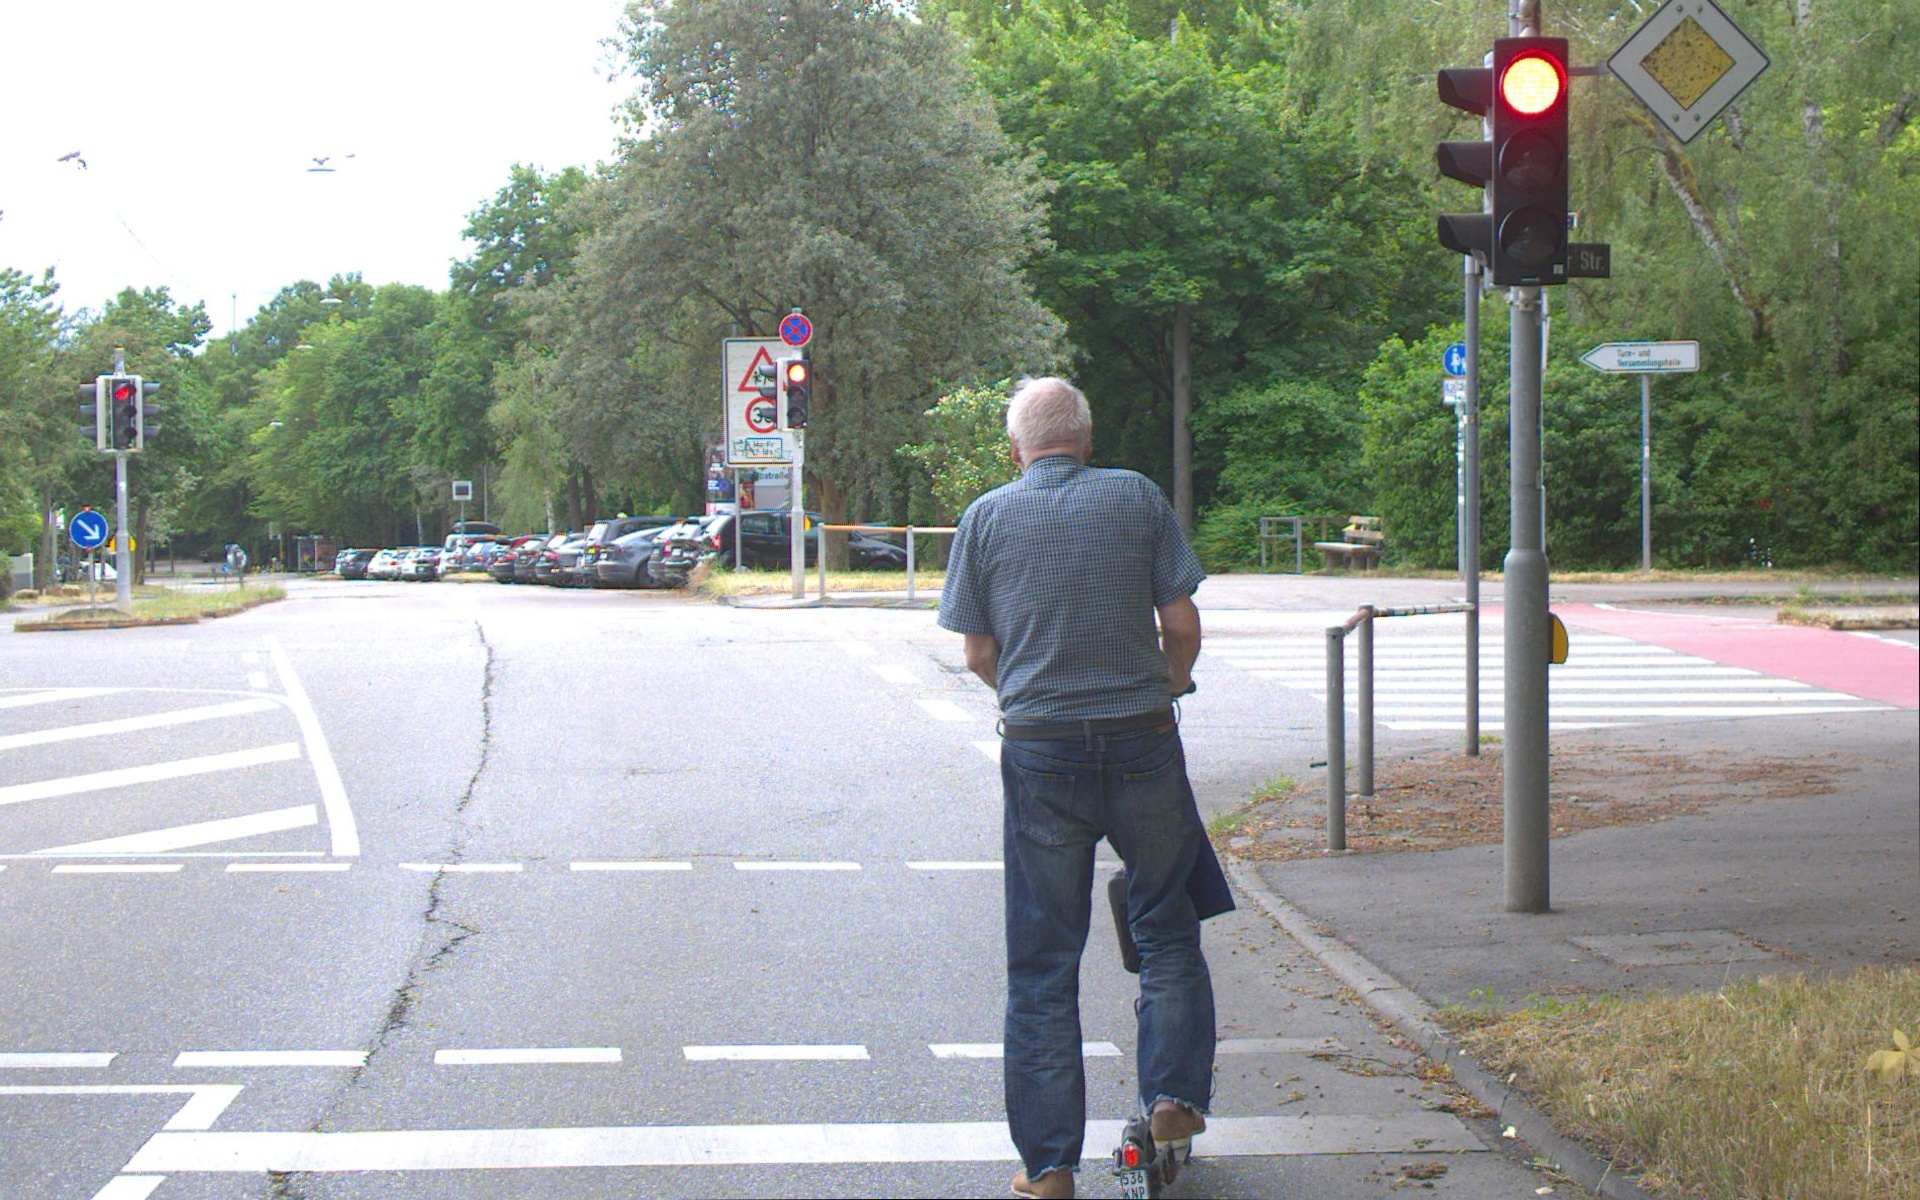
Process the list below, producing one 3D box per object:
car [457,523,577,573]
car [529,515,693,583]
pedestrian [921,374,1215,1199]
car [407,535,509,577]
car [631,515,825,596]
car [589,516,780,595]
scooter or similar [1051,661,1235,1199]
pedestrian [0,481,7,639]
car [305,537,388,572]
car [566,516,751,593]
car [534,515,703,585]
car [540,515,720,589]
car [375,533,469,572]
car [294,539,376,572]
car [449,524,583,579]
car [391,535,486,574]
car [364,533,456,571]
[{"bbox_3d":[-15.702,-1.852,121.896,3.840,1.605,1.729,-3,2,-23],"label":"car"},{"bbox_3d":[-9.043,-1.324,89.065,3.840,1.605,1.729,-3,2,-23],"label":"car"},{"bbox_3d":[0.245,0.421,7.572,0.573,1.807,0.420,-1,1,8],"label":"pedestrian"},{"bbox_3d":[-20.851,-1.829,142.773,3.840,1.605,1.729,-3,2,-23],"label":"car"},{"bbox_3d":[-5.052,-0.980,74.794,3.840,1.605,1.729,-2,2,-21],"label":"car"},{"bbox_3d":[-6.153,-1.012,76.765,3.841,1.605,1.729,-3,2,-24],"label":"car"},{"bbox_3d":[0.410,0.747,7.402,0.282,1.174,1.177,-1,1,8],"label":"scooter or similar"},{"bbox_3d":[-11.779,-0.467,40.721,0.883,1.856,0.574,-2,1,-18],"label":"pedestrian"},{"bbox_3d":[-31.325,-2.338,175.640,3.840,1.605,1.729,-3,2,-23],"label":"car"},{"bbox_3d":[-6.954,-1.064,79.306,3.840,1.605,1.729,-3,2,-23],"label":"car"},{"bbox_3d":[-8.603,-1.278,86.653,3.840,1.605,1.729,-3,2,-23],"label":"car"},{"bbox_3d":[-7.817,-1.143,81.340,3.840,1.605,1.729,-3,2,-23],"label":"car"},{"bbox_3d":[-24.447,-2.155,156.208,3.840,1.605,1.729,-3,2,-23],"label":"car"},{"bbox_3d":[-32.347,-2.311,177.979,3.840,1.605,1.729,-3,2,-23],"label":"car"},{"bbox_3d":[-14.056,-1.538,108.930,3.840,1.605,1.729,-3,2,-23],"label":"car"},{"bbox_3d":[-23.373,-2.056,154.076,3.840,1.605,1.729,-3,2,-23],"label":"car"},{"bbox_3d":[-25.389,-2.215,158.779,3.840,1.605,1.729,-3,2,-23],"label":"car"}]
